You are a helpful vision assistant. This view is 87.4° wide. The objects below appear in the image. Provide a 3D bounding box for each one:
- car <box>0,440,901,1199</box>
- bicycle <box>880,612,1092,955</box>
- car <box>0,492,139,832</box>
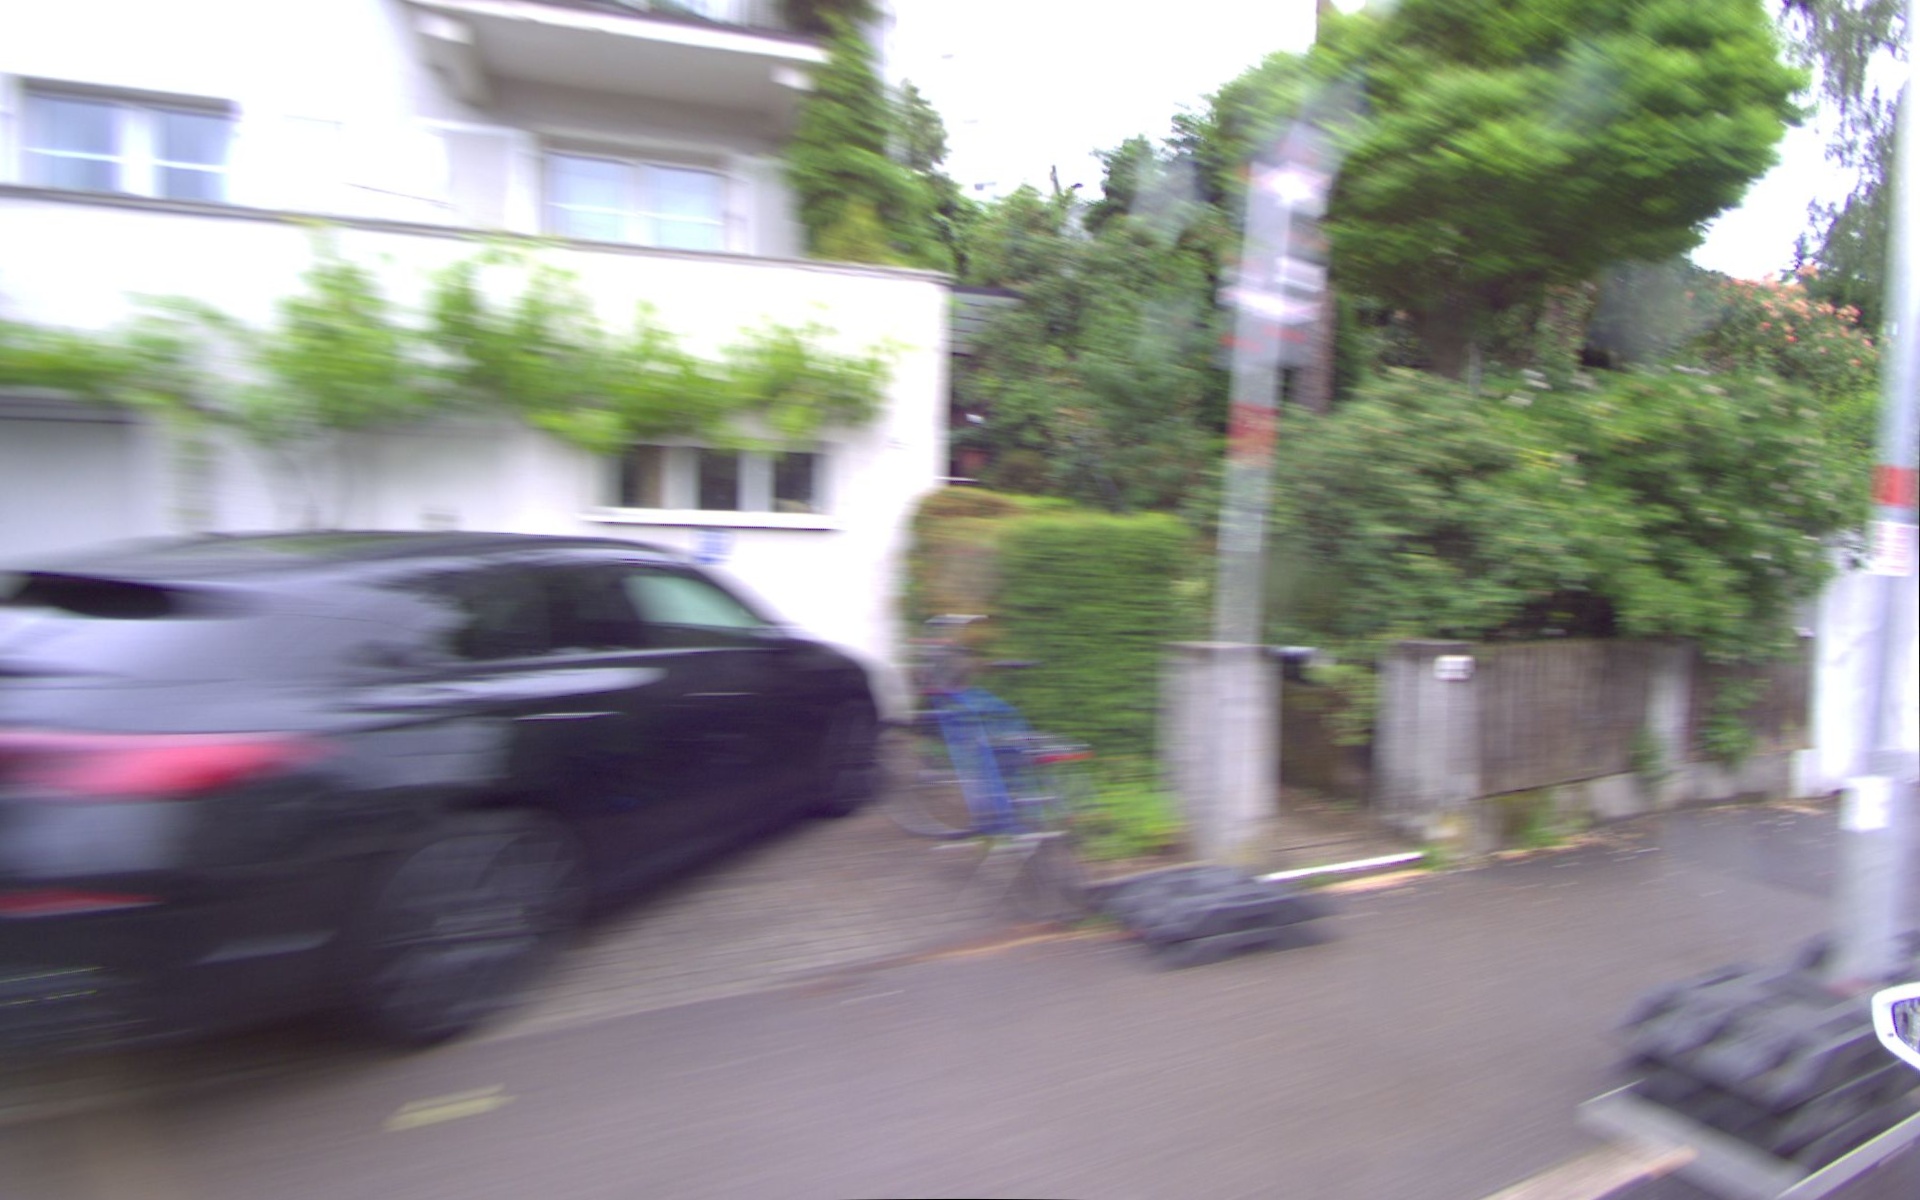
[{"bbox_3d":[-1.829,0.383,4.130,1.751,1.546,4.000,4,2,18],"label":"car"},{"bbox_3d":[0.035,0.680,4.428,0.436,1.146,1.618,3,2,-15],"label":"bicycle"},{"bbox_3d":[-5.019,0.273,3.598,1.911,1.546,3.982,3,2,-19],"label":"car"}]
